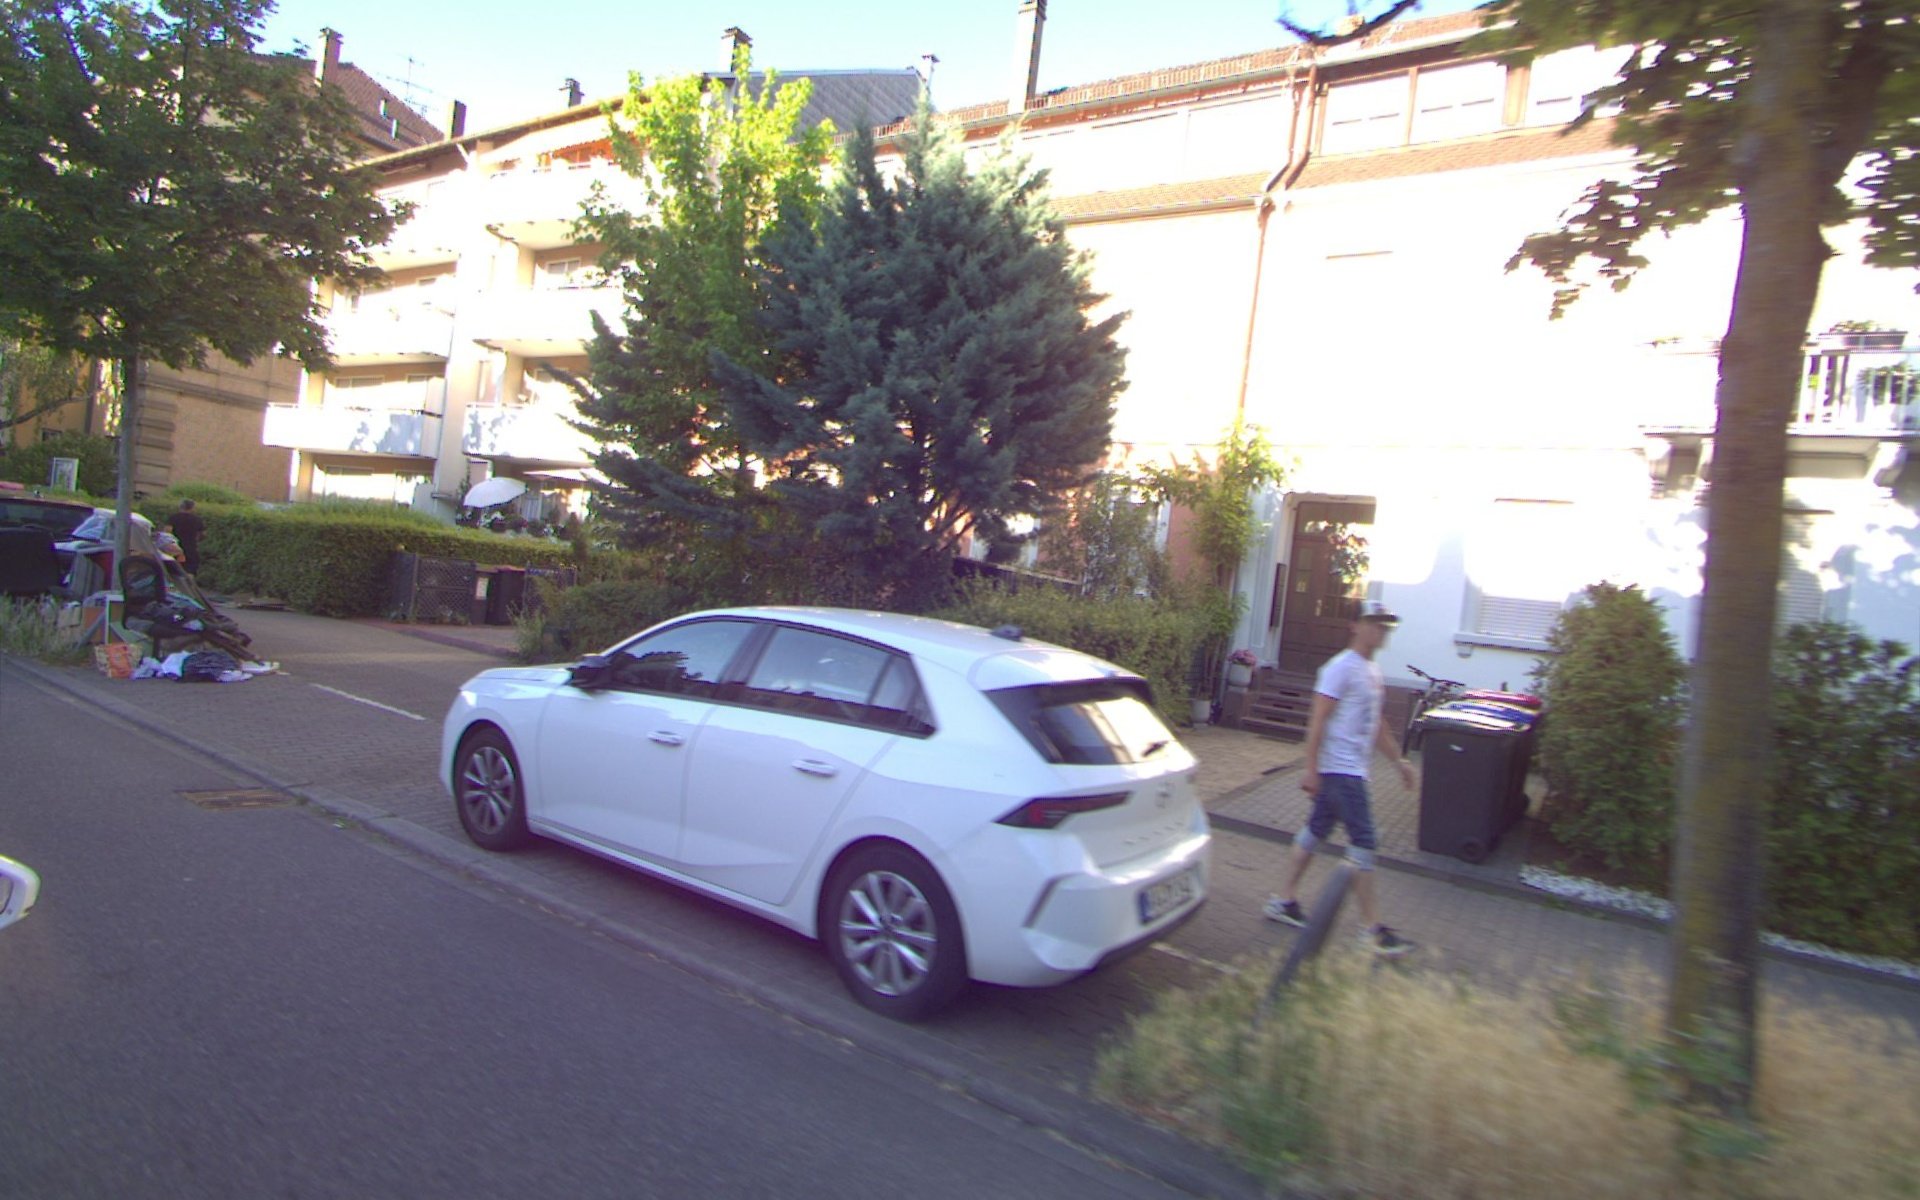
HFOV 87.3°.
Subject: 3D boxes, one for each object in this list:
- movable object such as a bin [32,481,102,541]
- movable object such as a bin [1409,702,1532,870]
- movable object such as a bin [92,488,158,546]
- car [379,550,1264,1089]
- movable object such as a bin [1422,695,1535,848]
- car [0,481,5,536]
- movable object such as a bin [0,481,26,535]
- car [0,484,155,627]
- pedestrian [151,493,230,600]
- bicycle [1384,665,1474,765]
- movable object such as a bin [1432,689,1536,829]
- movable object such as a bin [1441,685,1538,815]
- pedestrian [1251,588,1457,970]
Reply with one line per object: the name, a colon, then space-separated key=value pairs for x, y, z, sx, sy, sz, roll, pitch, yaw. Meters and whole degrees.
movable object such as a bin: x=-26.750 y=-2.671 z=30.159 sx=0.976 sy=1.575 sz=1.158 roll=7 pitch=1 yaw=23
movable object such as a bin: x=3.948 y=1.400 z=7.773 sx=0.672 sy=1.073 sz=0.725 roll=7 pitch=4 yaw=32
movable object such as a bin: x=-25.884 y=-2.571 z=31.195 sx=0.976 sy=1.575 sz=1.158 roll=7 pitch=1 yaw=23
car: x=-0.904 y=0.701 z=5.130 sx=4.263 sy=1.420 sz=1.763 roll=7 pitch=1 yaw=33
movable object such as a bin: x=4.362 y=1.408 z=8.454 sx=0.672 sy=1.073 sz=0.725 roll=7 pitch=4 yaw=32
car: x=-17.141 y=-1.379 z=15.972 sx=4.357 sy=1.491 sz=1.718 roll=7 pitch=1 yaw=31
movable object such as a bin: x=-27.657 y=-2.680 z=28.790 sx=1.248 sy=1.459 sz=0.982 roll=6 pitch=1 yaw=-43
car: x=-11.931 y=-0.692 z=12.397 sx=4.411 sy=1.467 sz=1.771 roll=7 pitch=1 yaw=33
pedestrian: x=-12.640 y=-0.869 z=16.531 sx=0.570 sy=1.636 sz=0.747 roll=8 pitch=1 yaw=31
bicycle: x=6.005 y=1.443 z=12.831 sx=0.658 sy=1.107 sz=1.724 roll=7 pitch=1 yaw=35
movable object such as a bin: x=4.756 y=1.413 z=9.124 sx=0.672 sy=1.073 sz=0.725 roll=7 pitch=4 yaw=32
movable object such as a bin: x=5.147 y=1.425 z=9.772 sx=0.672 sy=1.073 sz=0.725 roll=7 pitch=4 yaw=32
pedestrian: x=2.112 y=0.901 z=5.356 sx=0.752 sy=1.802 sz=0.669 roll=5 pitch=-3 yaw=32
